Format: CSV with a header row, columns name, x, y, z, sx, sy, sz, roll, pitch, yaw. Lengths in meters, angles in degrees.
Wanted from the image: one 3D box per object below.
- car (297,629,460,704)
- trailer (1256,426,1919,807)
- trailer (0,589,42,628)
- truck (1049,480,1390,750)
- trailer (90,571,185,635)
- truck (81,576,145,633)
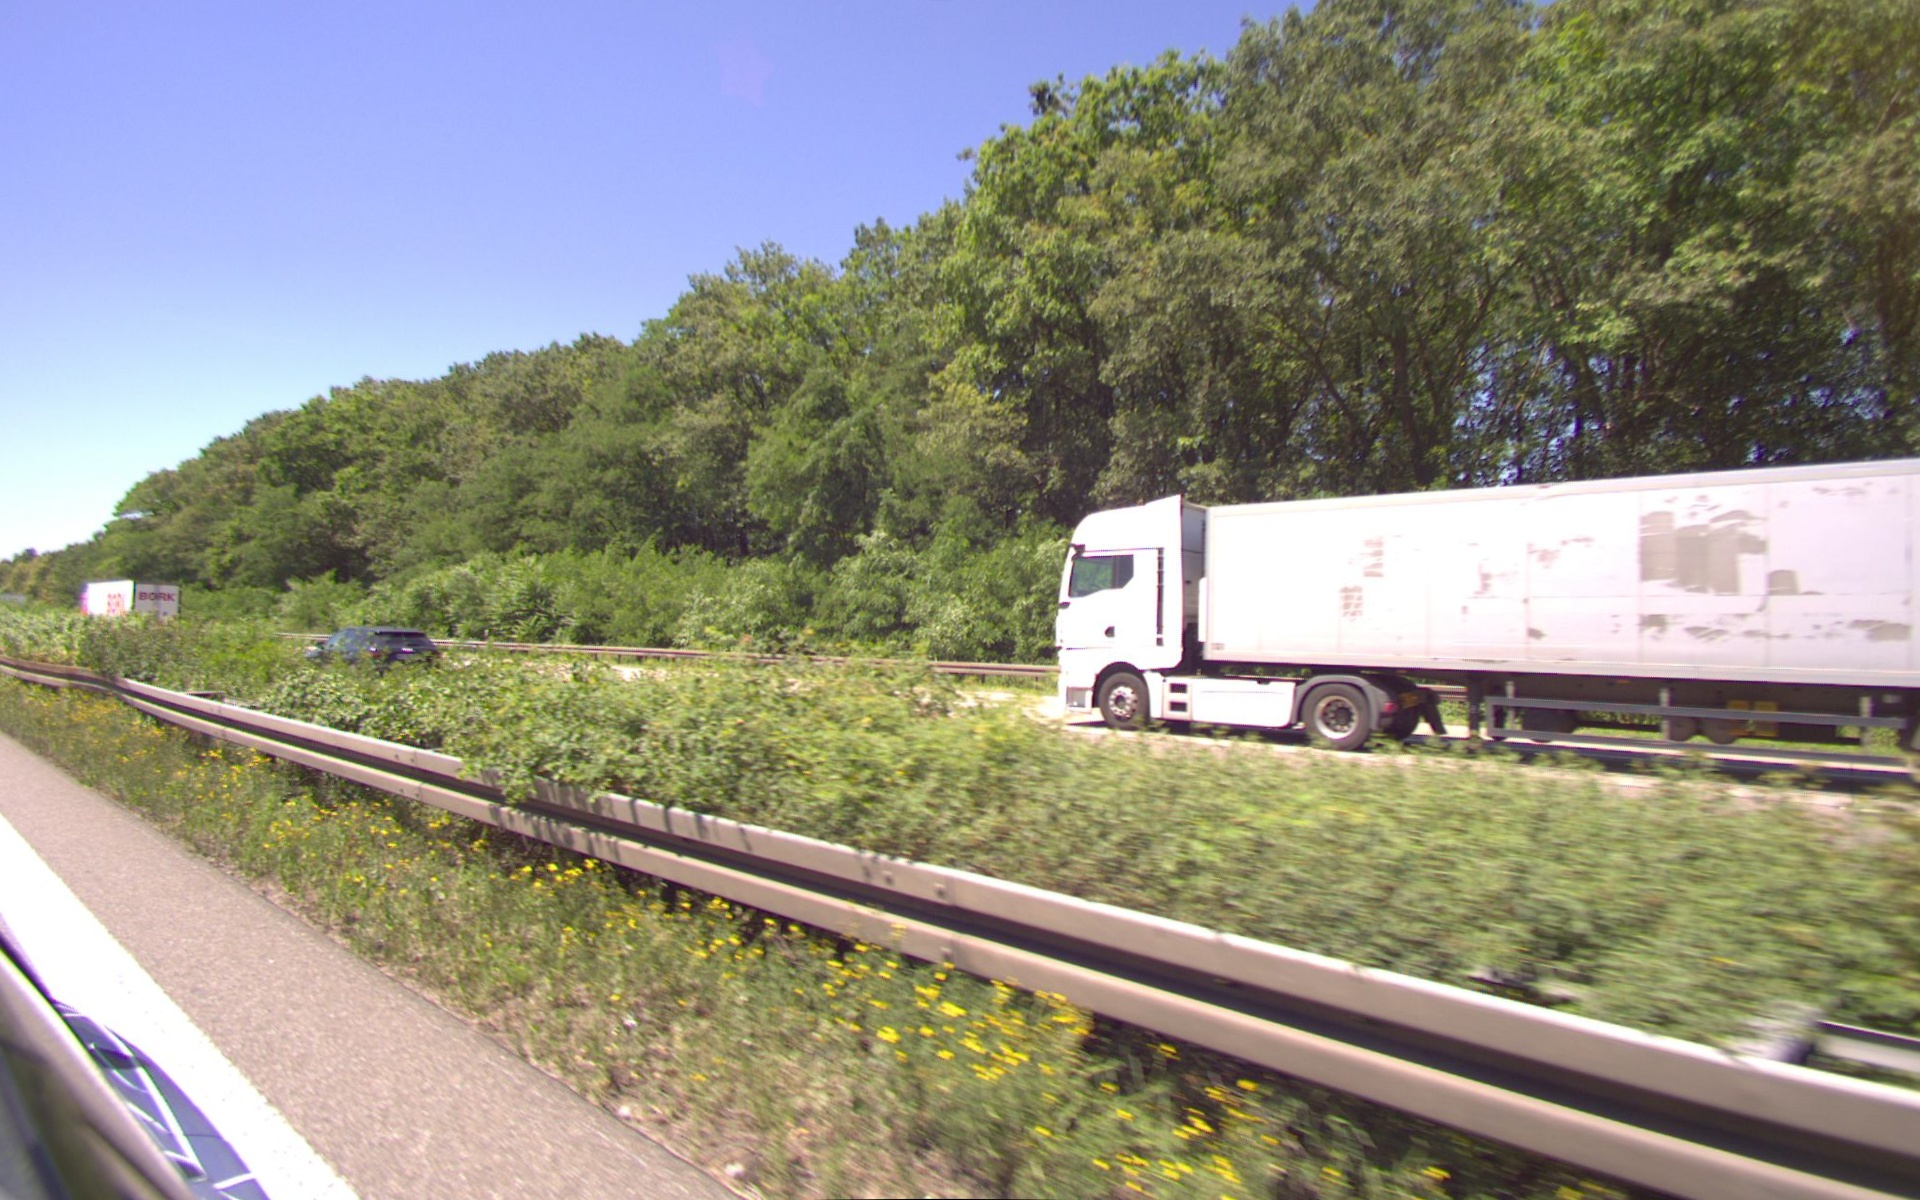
name,x,y,z,sx,sy,sz,roll,pitch,yaw
car,-12.714,1.375,22.042,4.011,1.415,1.793,-1,-1,40
trailer,10.493,0.186,11.677,13.634,3.907,2.880,-1,-1,41
trailer,-105.599,1.044,112.998,12.904,4.065,2.805,-1,-3,40
truck,4.278,0.248,17.074,4.881,3.852,2.754,-1,-1,41
trailer,-57.087,0.300,70.054,12.908,4.080,2.890,-1,-1,41
truck,-62.521,0.348,74.700,4.292,4.081,2.891,-1,-1,40
